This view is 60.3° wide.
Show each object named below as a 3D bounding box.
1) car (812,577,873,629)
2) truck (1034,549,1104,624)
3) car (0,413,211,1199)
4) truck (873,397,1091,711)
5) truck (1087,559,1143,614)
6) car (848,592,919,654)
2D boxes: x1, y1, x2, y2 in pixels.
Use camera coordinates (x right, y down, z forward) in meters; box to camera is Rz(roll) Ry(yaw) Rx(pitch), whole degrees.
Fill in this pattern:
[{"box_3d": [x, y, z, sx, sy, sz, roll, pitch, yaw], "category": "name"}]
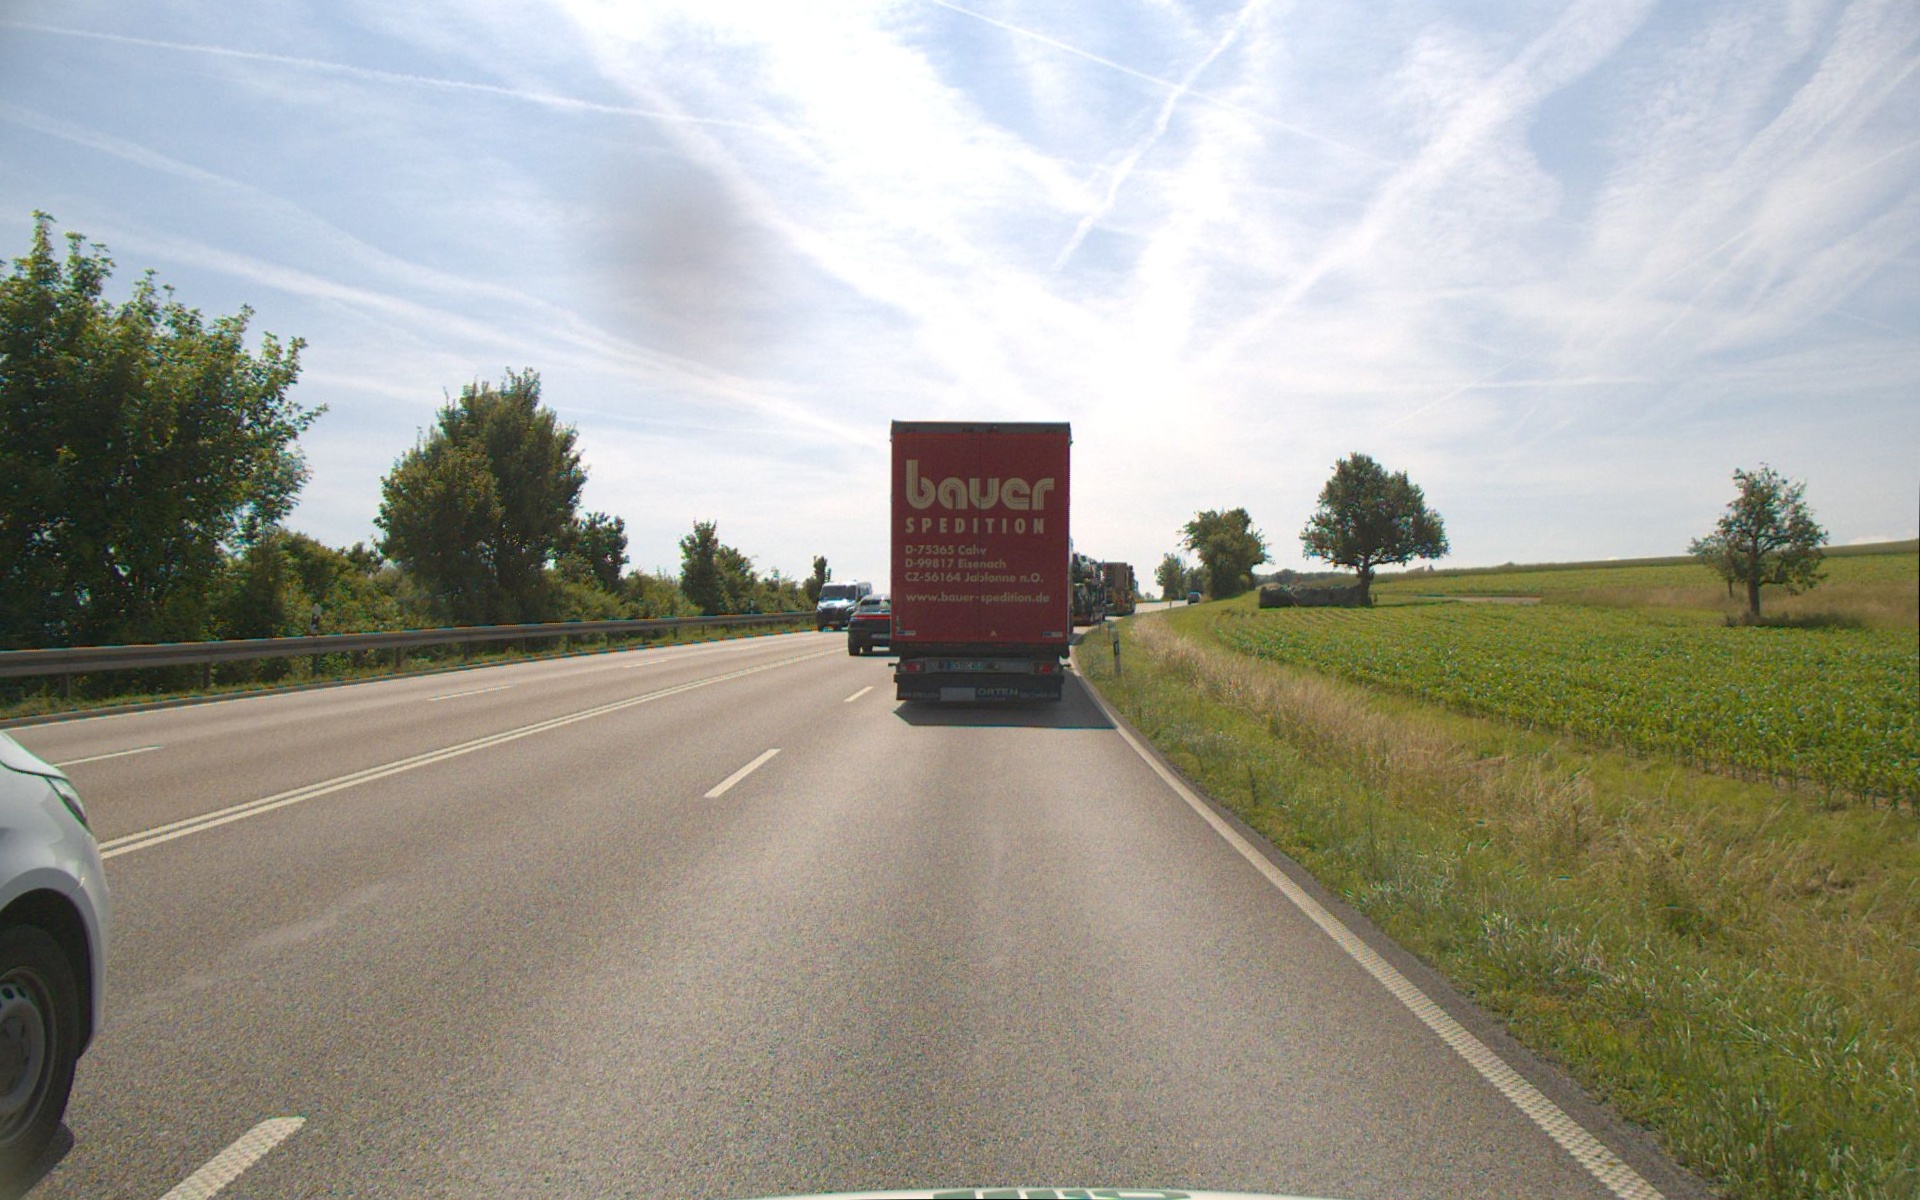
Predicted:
[{"box_3d": [-5.717, 0.176, 80.873, 2.044, 2.437, 5.847, 0, 0, 5], "category": "car"}, {"box_3d": [6.547, -0.772, 96.945, 2.982, 3.978, 15.628, -1, 0, 8], "category": "truck"}, {"box_3d": [-3.204, 0.514, 2.349, 1.866, 1.917, 5.431, 0, 0, -1], "category": "car"}, {"box_3d": [0.456, -0.657, 30.923, 2.945, 4.253, 16.716, 0, 0, 1], "category": "truck"}, {"box_3d": [12.333, -1.001, 130.179, 2.982, 3.978, 18.414, -1, 0, 10], "category": "truck"}, {"box_3d": [-2.086, 0.627, 45.816, 1.491, 1.609, 4.002, 1, 0, 4], "category": "car"}]
